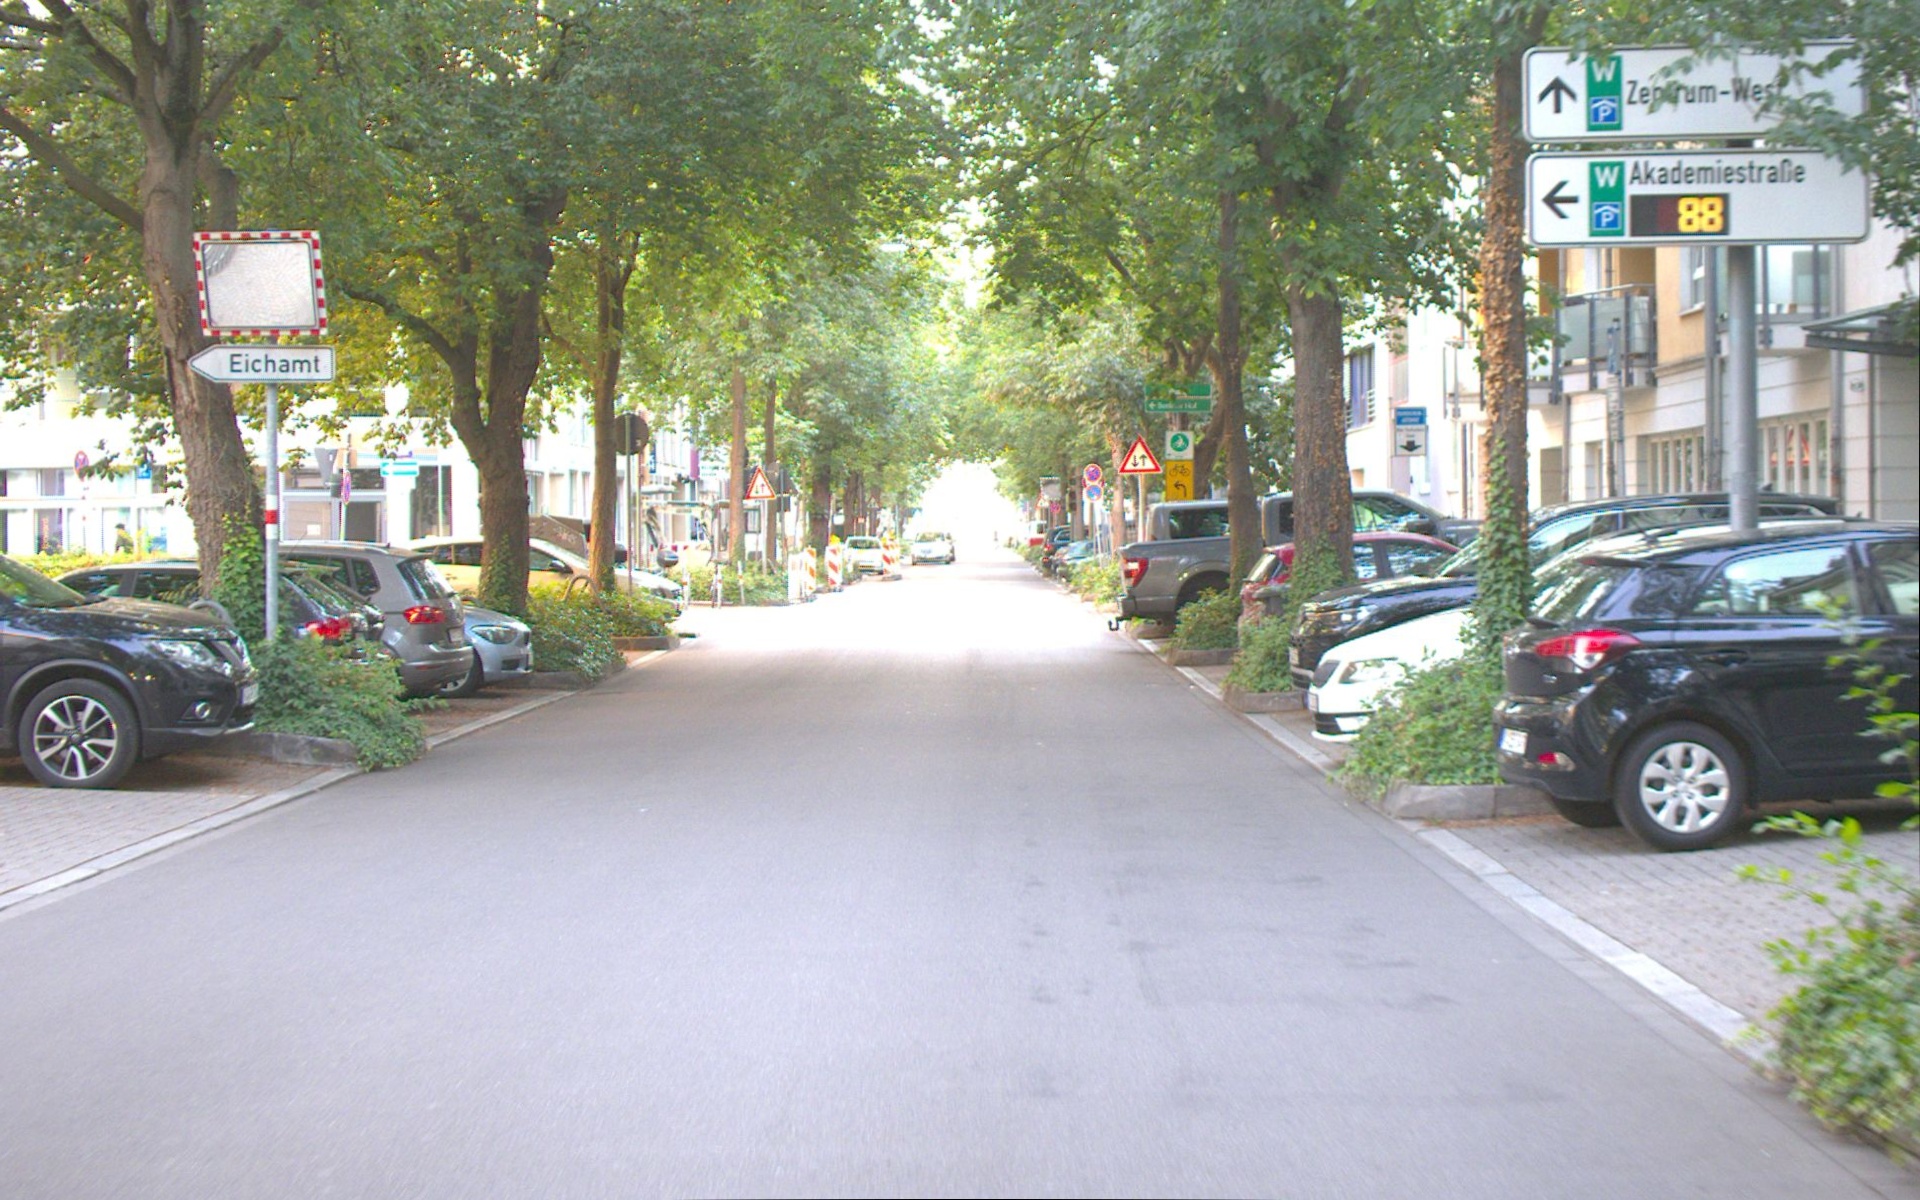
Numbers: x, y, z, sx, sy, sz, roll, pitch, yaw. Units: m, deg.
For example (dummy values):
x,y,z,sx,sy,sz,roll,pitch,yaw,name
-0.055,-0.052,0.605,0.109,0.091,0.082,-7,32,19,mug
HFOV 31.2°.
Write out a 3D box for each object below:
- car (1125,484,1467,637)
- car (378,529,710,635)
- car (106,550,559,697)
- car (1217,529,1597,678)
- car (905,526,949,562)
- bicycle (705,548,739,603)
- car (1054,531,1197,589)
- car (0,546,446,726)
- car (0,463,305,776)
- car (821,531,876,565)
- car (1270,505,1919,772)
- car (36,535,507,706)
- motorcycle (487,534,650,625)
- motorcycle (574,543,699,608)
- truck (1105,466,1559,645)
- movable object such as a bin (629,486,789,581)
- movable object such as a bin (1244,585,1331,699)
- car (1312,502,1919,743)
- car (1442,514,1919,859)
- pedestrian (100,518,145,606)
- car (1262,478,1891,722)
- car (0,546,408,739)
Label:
x,y,z,sx,sy,sz,roll,pitch,yaw,name
4.729,-0.578,48.943,4.600,2.059,2.198,-1,1,0,car
-6.149,-0.284,51.175,4.619,1.547,2.075,0,1,3,car
-6.383,0.224,35.304,4.287,1.425,1.879,0,1,1,car
4.707,0.020,36.588,3.776,1.539,1.878,0,1,-1,car
-1.540,-2.609,159.231,2.009,1.607,4.120,0,1,-1,car
-5.164,-0.543,74.477,0.683,1.148,1.981,-1,2,-5,bicycle
4.687,-1.148,97.618,3.987,1.579,2.000,0,1,2,car
-6.606,0.292,30.014,3.986,1.485,1.826,0,1,-2,car
-6.707,0.108,22.405,4.504,1.948,2.000,0,1,-1,car
-4.362,-2.047,134.002,1.993,1.284,4.001,-1,1,-4,car
4.494,0.223,22.995,4.600,1.463,1.796,-3,1,0,car
-6.491,0.175,32.676,3.988,1.560,1.929,0,1,6,car
-6.230,-0.336,54.770,2.453,1.415,0.911,0,1,3,motorcycle
-6.661,-0.517,70.896,2.350,1.277,1.067,-2,2,-40,motorcycle
4.923,-0.604,46.196,5.888,2.303,2.212,0,1,1,truck
-6.524,-1.731,89.024,4.045,2.375,2.785,-1,2,-5,movable object such as a bin
3.241,0.409,34.061,0.760,1.080,0.785,-2,1,2,movable object such as a bin
4.842,0.142,25.571,4.224,1.433,1.929,-4,1,3,car
4.644,0.323,16.970,4.082,1.446,1.935,-4,1,-5,car
-17.648,-0.808,72.468,0.887,1.844,0.876,-1,1,-14,pedestrian
4.968,-0.022,28.159,4.642,1.612,2.010,-4,1,-3,car
-6.576,0.318,27.631,3.987,1.459,1.922,0,1,-1,car
